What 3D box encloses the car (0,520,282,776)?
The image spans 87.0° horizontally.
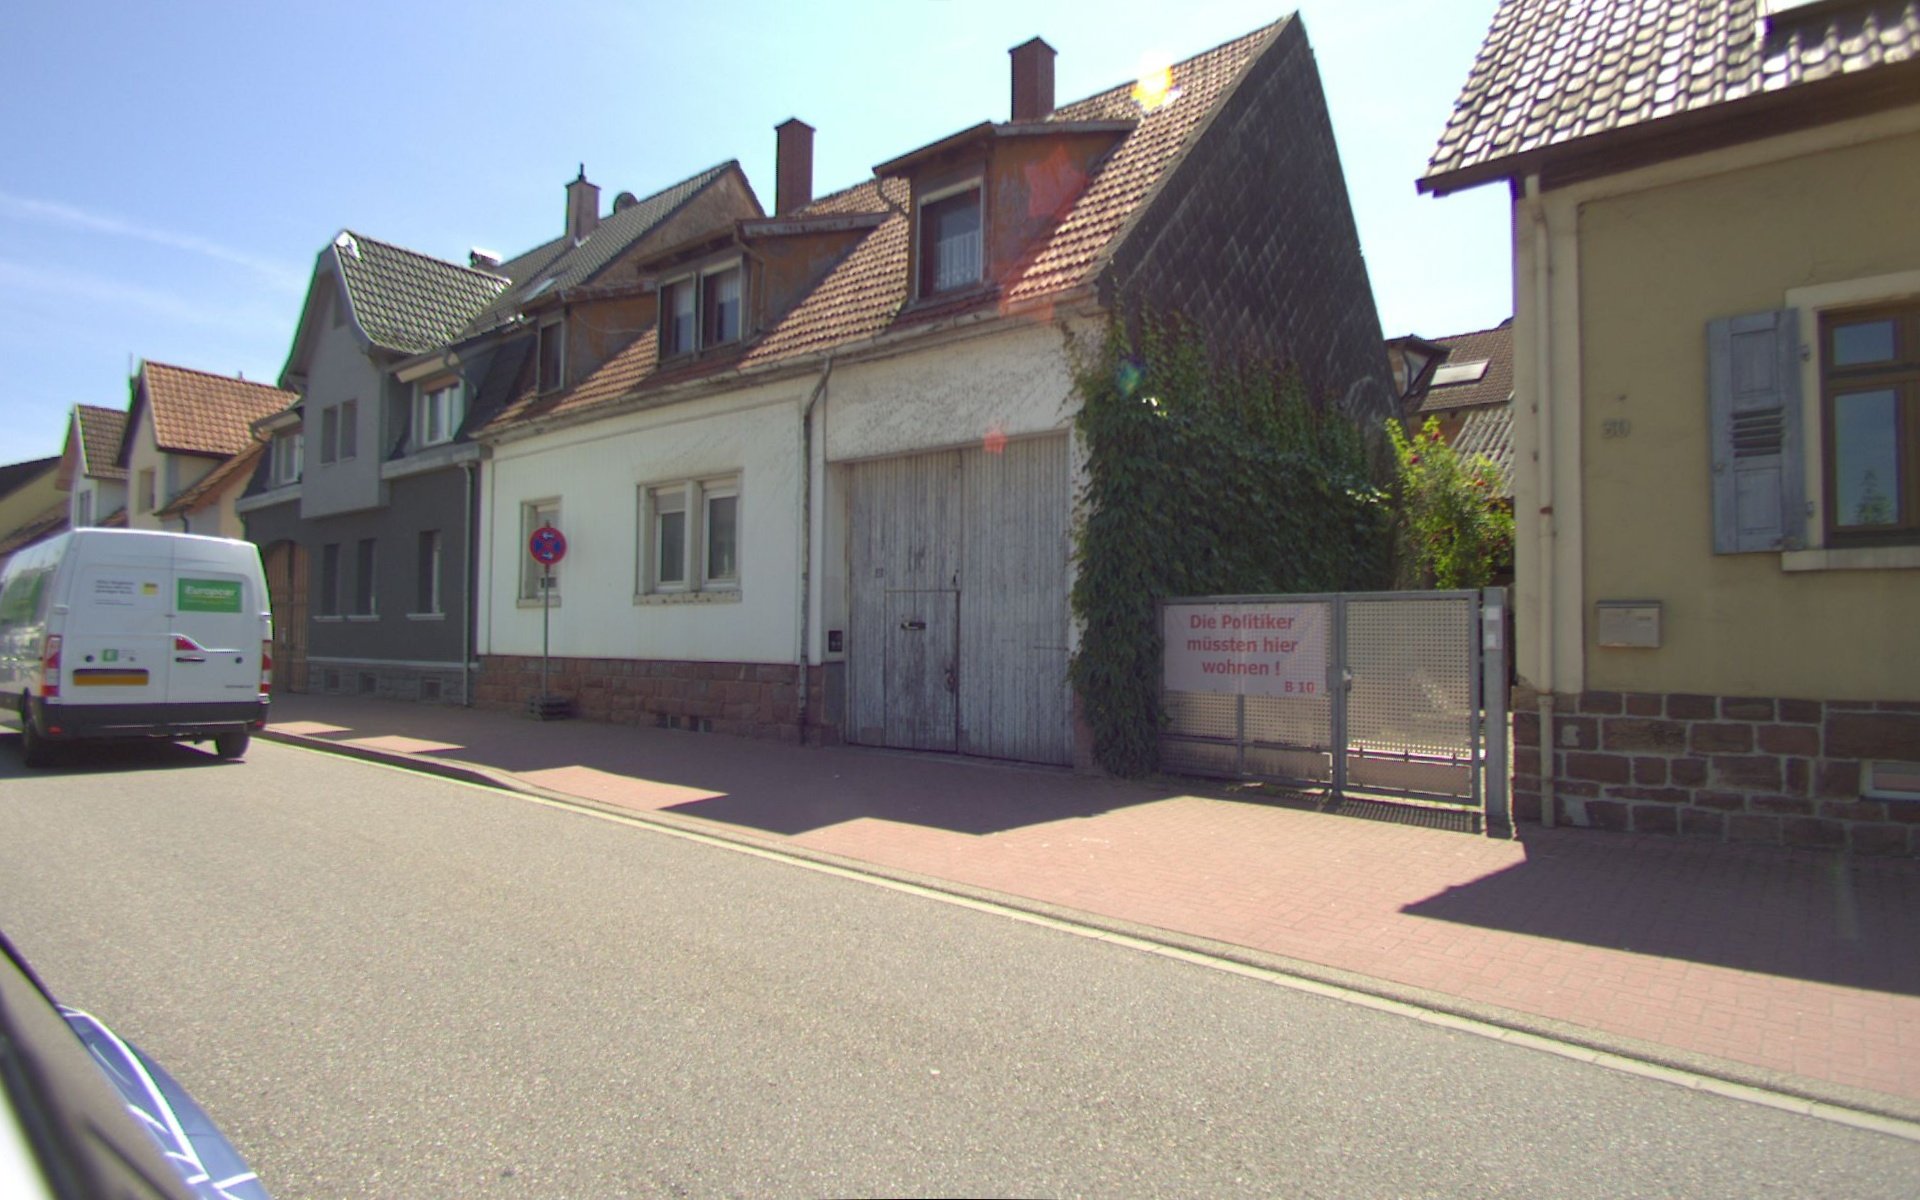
[{"bbox_3d":[-10.661,0.568,12.546,6.062,2.480,2.009,-1,-4,40],"label":"car"}]

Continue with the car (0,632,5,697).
[{"bbox_3d":[-23.950,1.452,23.682,4.395,1.465,1.630,-1,-4,38],"label":"car"}]
